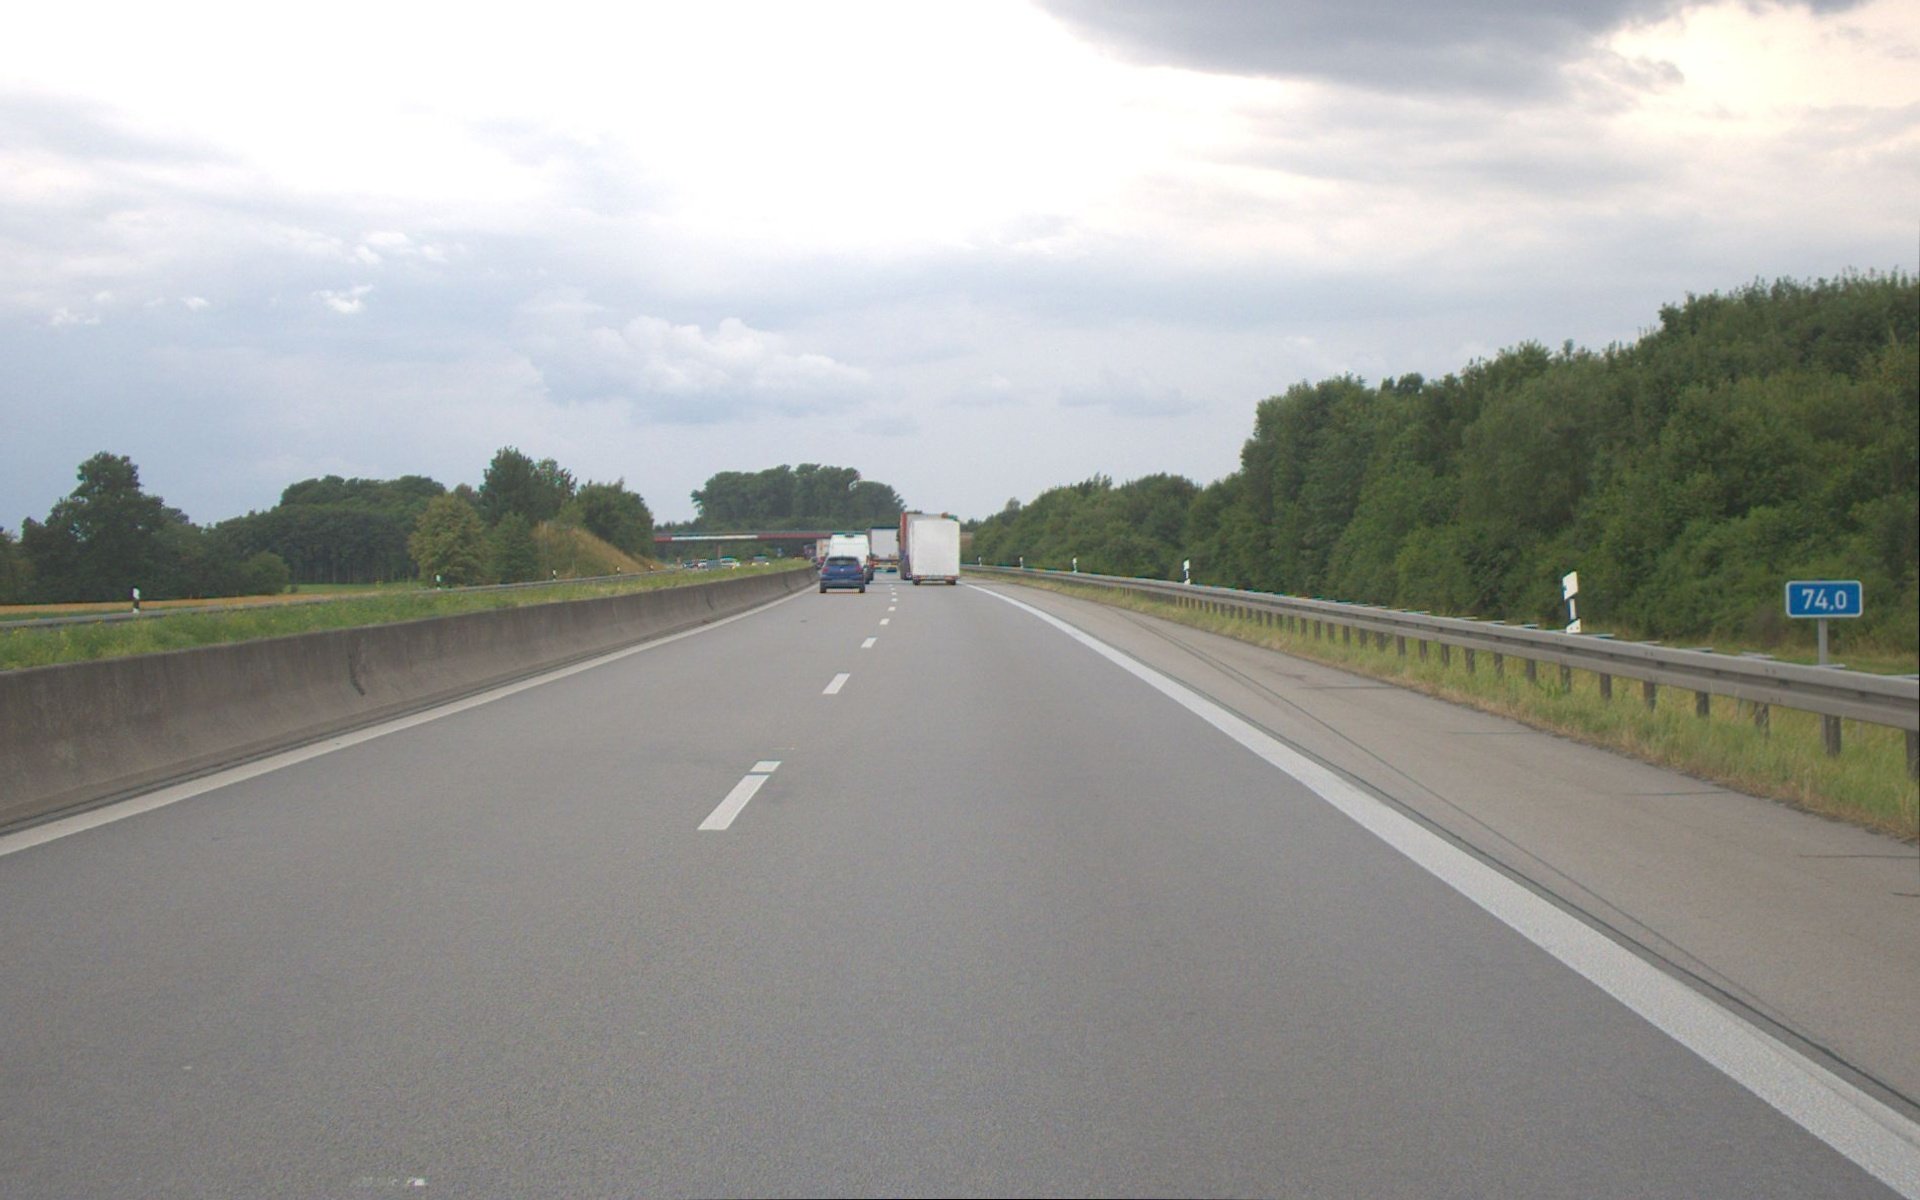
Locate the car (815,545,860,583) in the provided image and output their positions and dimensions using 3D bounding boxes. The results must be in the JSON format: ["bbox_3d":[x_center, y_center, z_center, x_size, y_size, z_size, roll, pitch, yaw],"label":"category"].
[{"bbox_3d":[-4.678,-1.374,131.316,1.663,1.402,3.649,0,1,-3],"label":"car"}]

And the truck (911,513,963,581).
[{"bbox_3d":[-1.149,-2.531,166.758,2.415,3.211,7.144,0,0,-1],"label":"truck"}]

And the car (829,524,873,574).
[{"bbox_3d":[-5.478,-2.557,173.760,2.130,2.474,5.840,-1,0,-1],"label":"car"}]
